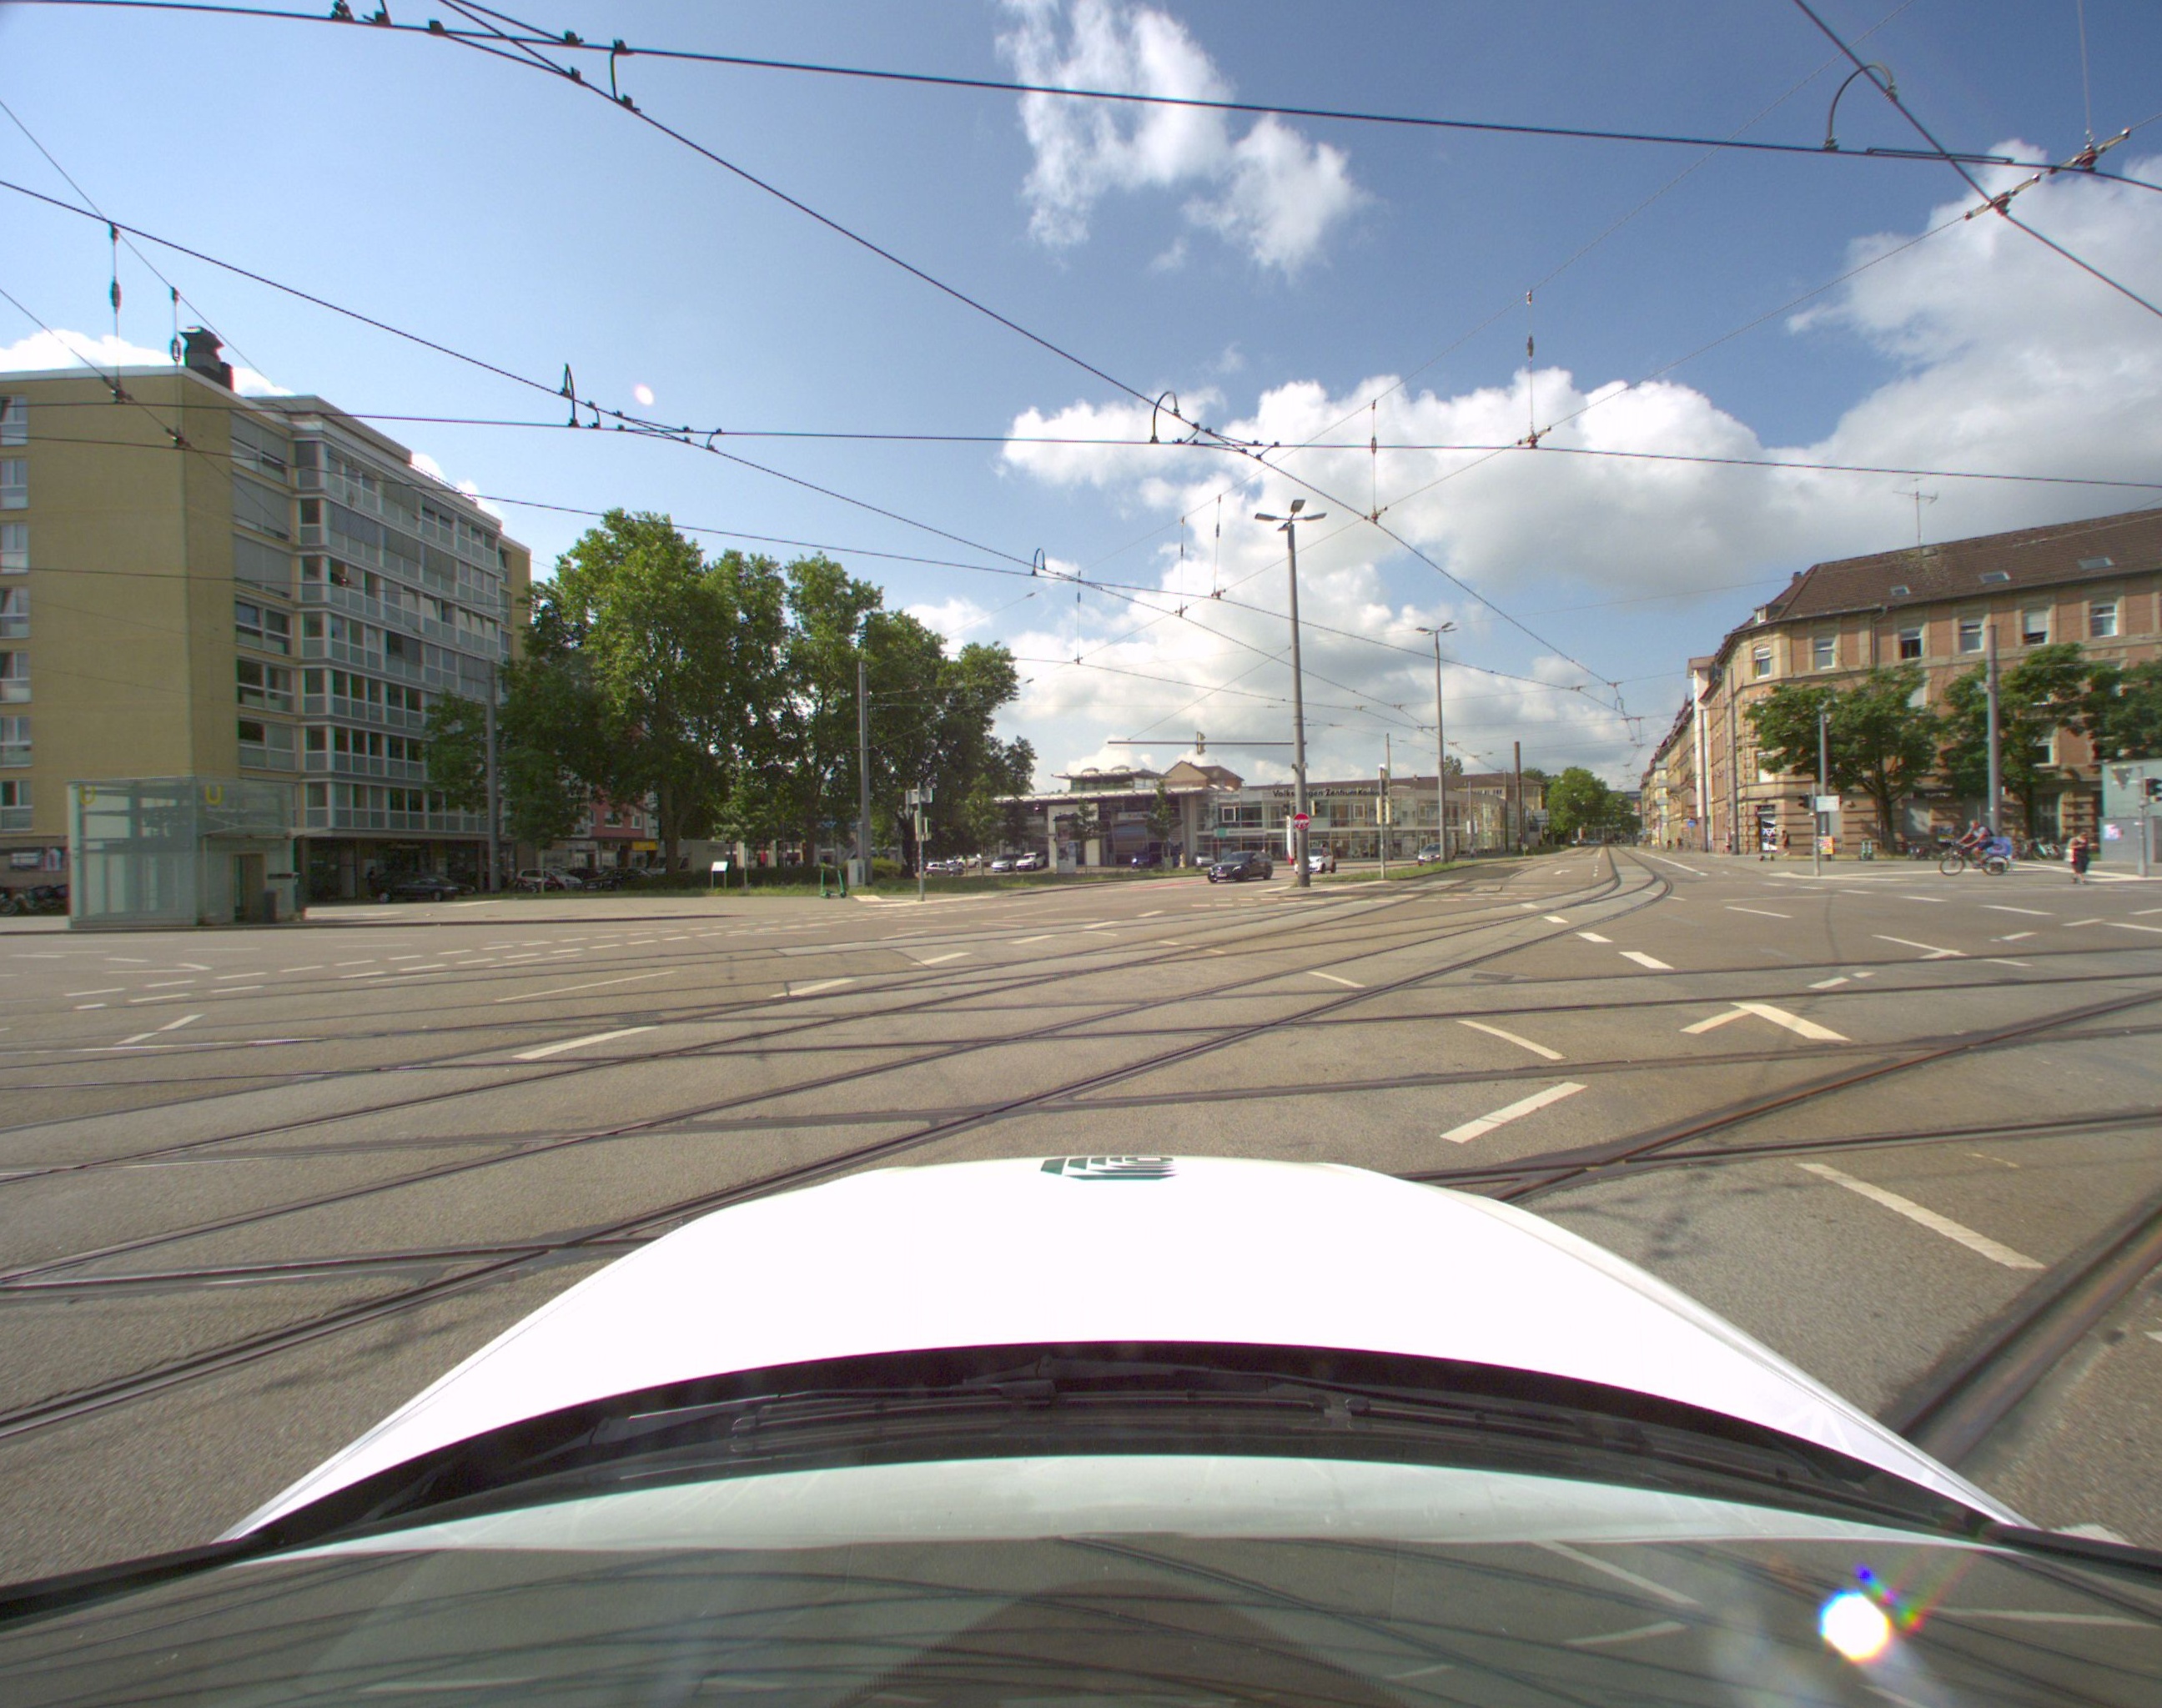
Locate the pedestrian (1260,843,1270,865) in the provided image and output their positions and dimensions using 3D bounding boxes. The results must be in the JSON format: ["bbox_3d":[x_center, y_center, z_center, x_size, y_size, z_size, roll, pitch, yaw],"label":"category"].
[{"bbox_3d":[16.561,0.005,73.277,0.864,2.013,0.705,-1,0,10],"label":"pedestrian"}]

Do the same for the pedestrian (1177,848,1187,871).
[{"bbox_3d":[8.916,0.442,71.852,0.801,2.014,0.812,0,0,17],"label":"pedestrian"}]

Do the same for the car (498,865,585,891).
[{"bbox_3d":[-32.879,1.473,49.699,4.068,1.514,1.809,0,0,0],"label":"car"}]

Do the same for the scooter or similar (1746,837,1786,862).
[{"bbox_3d":[39.140,-0.257,46.580,1.165,1.386,2.821,0,0,27],"label":"scooter or similar"}]

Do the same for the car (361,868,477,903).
[{"bbox_3d":[-32.089,1.523,39.542,4.068,1.514,1.809,-1,0,0],"label":"car"}]

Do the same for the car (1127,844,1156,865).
[{"bbox_3d":[5.787,0.075,77.555,1.979,1.838,4.015,-2,-1,14],"label":"car"}]

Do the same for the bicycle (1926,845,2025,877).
[{"bbox_3d":[31.350,0.241,28.599,2.170,1.070,0.883,0,0,28],"label":"bicycle"}]

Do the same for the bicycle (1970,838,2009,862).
[{"bbox_3d":[46.122,-0.207,41.380,0.751,1.166,2.702,0,0,36],"label":"bicycle"}]

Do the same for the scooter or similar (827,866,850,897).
[{"bbox_3d":[-9.664,1.093,32.422,1.051,1.196,0.384,0,0,45],"label":"scooter or similar"}]

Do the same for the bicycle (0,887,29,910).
[{"bbox_3d":[-44.768,1.860,33.943,1.454,0.922,0.293,0,0,1],"label":"bicycle"}]

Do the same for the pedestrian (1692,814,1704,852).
[{"bbox_3d":[51.282,-1.743,67.644,0.718,3.076,0.893,0,-1,42],"label":"pedestrian"}]

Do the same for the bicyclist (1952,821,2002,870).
[{"bbox_3d":[31.370,-0.299,28.524,1.134,1.674,0.619,0,0,43],"label":"bicyclist"}]

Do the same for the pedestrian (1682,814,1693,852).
[{"bbox_3d":[50.759,-1.762,68.192,0.659,3.120,0.893,0,-1,42],"label":"pedestrian"}]

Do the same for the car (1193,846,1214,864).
[{"bbox_3d":[11.636,0.083,77.087,1.917,1.683,4.010,0,0,9],"label":"car"}]

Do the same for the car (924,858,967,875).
[{"bbox_3d":[-13.019,1.222,78.153,3.640,1.488,1.681,1,1,18],"label":"car"}]

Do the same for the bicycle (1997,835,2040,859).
[{"bbox_3d":[46.949,-0.356,40.804,0.751,1.165,2.702,-1,0,35],"label":"bicycle"}]

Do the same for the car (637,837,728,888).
[{"bbox_3d":[-25.579,0.531,52.683,1.985,3.043,7.253,-1,0,3],"label":"car"}]

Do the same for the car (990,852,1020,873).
[{"bbox_3d":[-7.671,0.831,82.400,1.981,2.013,4.011,1,0,10],"label":"car"}]

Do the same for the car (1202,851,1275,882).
[{"bbox_3d":[7.568,0.581,38.895,1.846,1.376,3.966,-1,0,37],"label":"car"}]

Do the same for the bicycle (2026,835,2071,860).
[{"bbox_3d":[47.748,-0.325,40.211,0.751,1.165,2.702,-1,0,35],"label":"bicycle"}]

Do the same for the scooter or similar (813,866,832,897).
[{"bbox_3d":[-10.275,1.090,32.362,0.383,1.196,1.053,1,0,-35],"label":"scooter or similar"}]

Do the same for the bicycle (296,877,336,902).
[{"bbox_3d":[-37.254,1.711,39.672,0.589,1.129,1.349,0,0,5],"label":"bicycle"}]

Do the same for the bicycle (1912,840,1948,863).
[{"bbox_3d":[44.342,-0.159,42.566,0.751,1.165,2.702,-1,0,35],"label":"bicycle"}]

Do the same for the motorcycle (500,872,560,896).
[{"bbox_3d":[-26.266,1.436,38.850,2.306,1.030,0.963,-1,-2,-40],"label":"motorcycle"}]

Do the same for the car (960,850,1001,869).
[{"bbox_3d":[-11.144,0.617,90.238,3.952,2.013,2.011,0,0,23],"label":"car"}]

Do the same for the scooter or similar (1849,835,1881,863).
[{"bbox_3d":[42.508,-0.267,44.176,0.869,1.482,2.027,-1,0,33],"label":"scooter or similar"}]

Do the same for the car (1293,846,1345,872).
[{"bbox_3d":[14.092,0.296,48.054,1.669,1.470,3.679,0,0,38],"label":"car"}]

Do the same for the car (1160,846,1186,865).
[{"bbox_3d":[8.635,0.140,76.125,1.980,1.725,4.013,0,0,12],"label":"car"}]

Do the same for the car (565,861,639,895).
[{"bbox_3d":[-26.469,1.269,45.135,1.991,1.706,3.991,-1,0,-6],"label":"car"}]

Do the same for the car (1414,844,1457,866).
[{"bbox_3d":[26.240,0.077,60.173,1.974,1.574,3.760,-1,0,38],"label":"car"}]

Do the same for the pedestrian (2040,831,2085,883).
[{"bbox_3d":[28.828,0.087,23.922,0.733,1.516,0.548,-1,0,41],"label":"pedestrian"}]

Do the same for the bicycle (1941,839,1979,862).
[{"bbox_3d":[45.220,-0.192,41.931,0.751,1.165,2.702,-1,0,35],"label":"bicycle"}]

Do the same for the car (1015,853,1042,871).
[{"bbox_3d":[-5.294,0.779,82.006,1.774,1.682,4.011,-1,0,10],"label":"car"}]
